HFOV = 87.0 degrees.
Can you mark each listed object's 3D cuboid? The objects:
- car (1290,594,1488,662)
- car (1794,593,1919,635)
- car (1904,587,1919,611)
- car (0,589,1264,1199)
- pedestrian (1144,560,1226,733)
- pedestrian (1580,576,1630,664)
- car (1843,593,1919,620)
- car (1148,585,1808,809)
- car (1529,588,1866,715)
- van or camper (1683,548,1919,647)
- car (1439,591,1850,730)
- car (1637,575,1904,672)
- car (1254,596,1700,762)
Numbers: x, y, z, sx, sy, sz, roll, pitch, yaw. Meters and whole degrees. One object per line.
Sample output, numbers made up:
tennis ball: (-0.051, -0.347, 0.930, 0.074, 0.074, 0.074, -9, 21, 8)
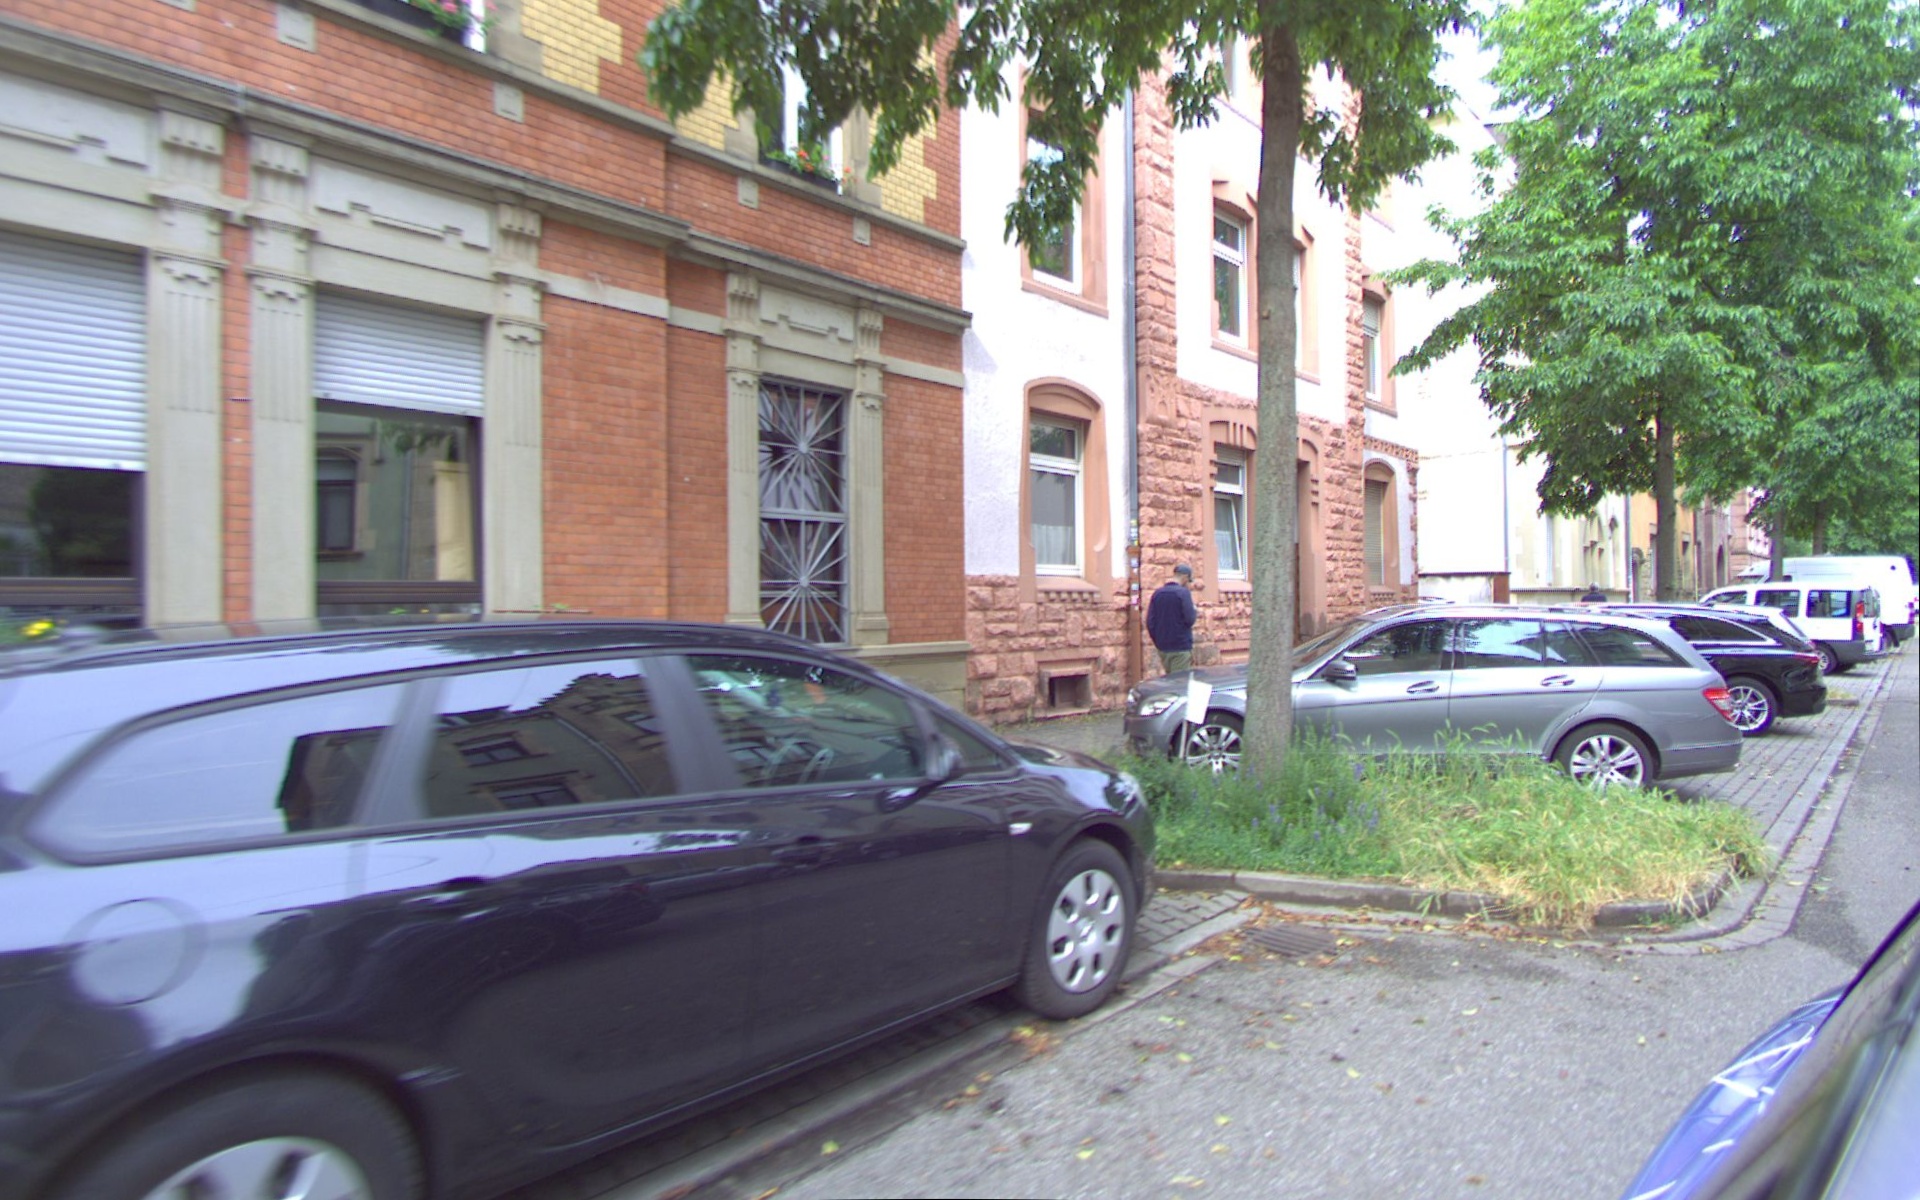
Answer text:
car: (10.040, 0.625, 23.876, 3.987, 1.472, 1.584, -1, -1, 45)
car: (34.361, 0.535, 38.554, 3.552, 1.485, 1.623, -1, -1, 14)
car: (74.100, -0.093, 77.808, 3.933, 1.772, 1.995, 0, -1, -44)
car: (-0.825, 0.730, 3.499, 1.764, 1.504, 4.408, 1, 1, 44)
pedestrian: (2.393, 0.472, 10.761, 0.597, 1.755, 0.653, -1, -1, 43)
pedestrian: (13.826, 0.422, 21.702, 0.803, 1.835, 0.701, 0, -2, -45)
car: (54.707, 0.390, 59.757, 3.577, 1.485, 1.612, -2, -1, 32)
car: (3.828, 0.637, 8.284, 4.381, 1.445, 1.751, 1, 1, 15)
car: (10.100, 0.689, 14.199, 3.428, 1.583, 1.773, -1, -1, 23)
van or camper: (23.773, -0.040, 28.573, 4.996, 2.624, 2.064, -1, -1, 15)
car: (7.903, 0.672, 12.073, 3.639, 1.485, 1.698, -1, -1, 14)
car: (16.726, 0.453, 21.090, 1.687, 1.834, 4.000, 0, 0, -34)
car: (5.108, 0.744, 10.572, 3.827, 1.453, 1.739, -1, 2, 15)
